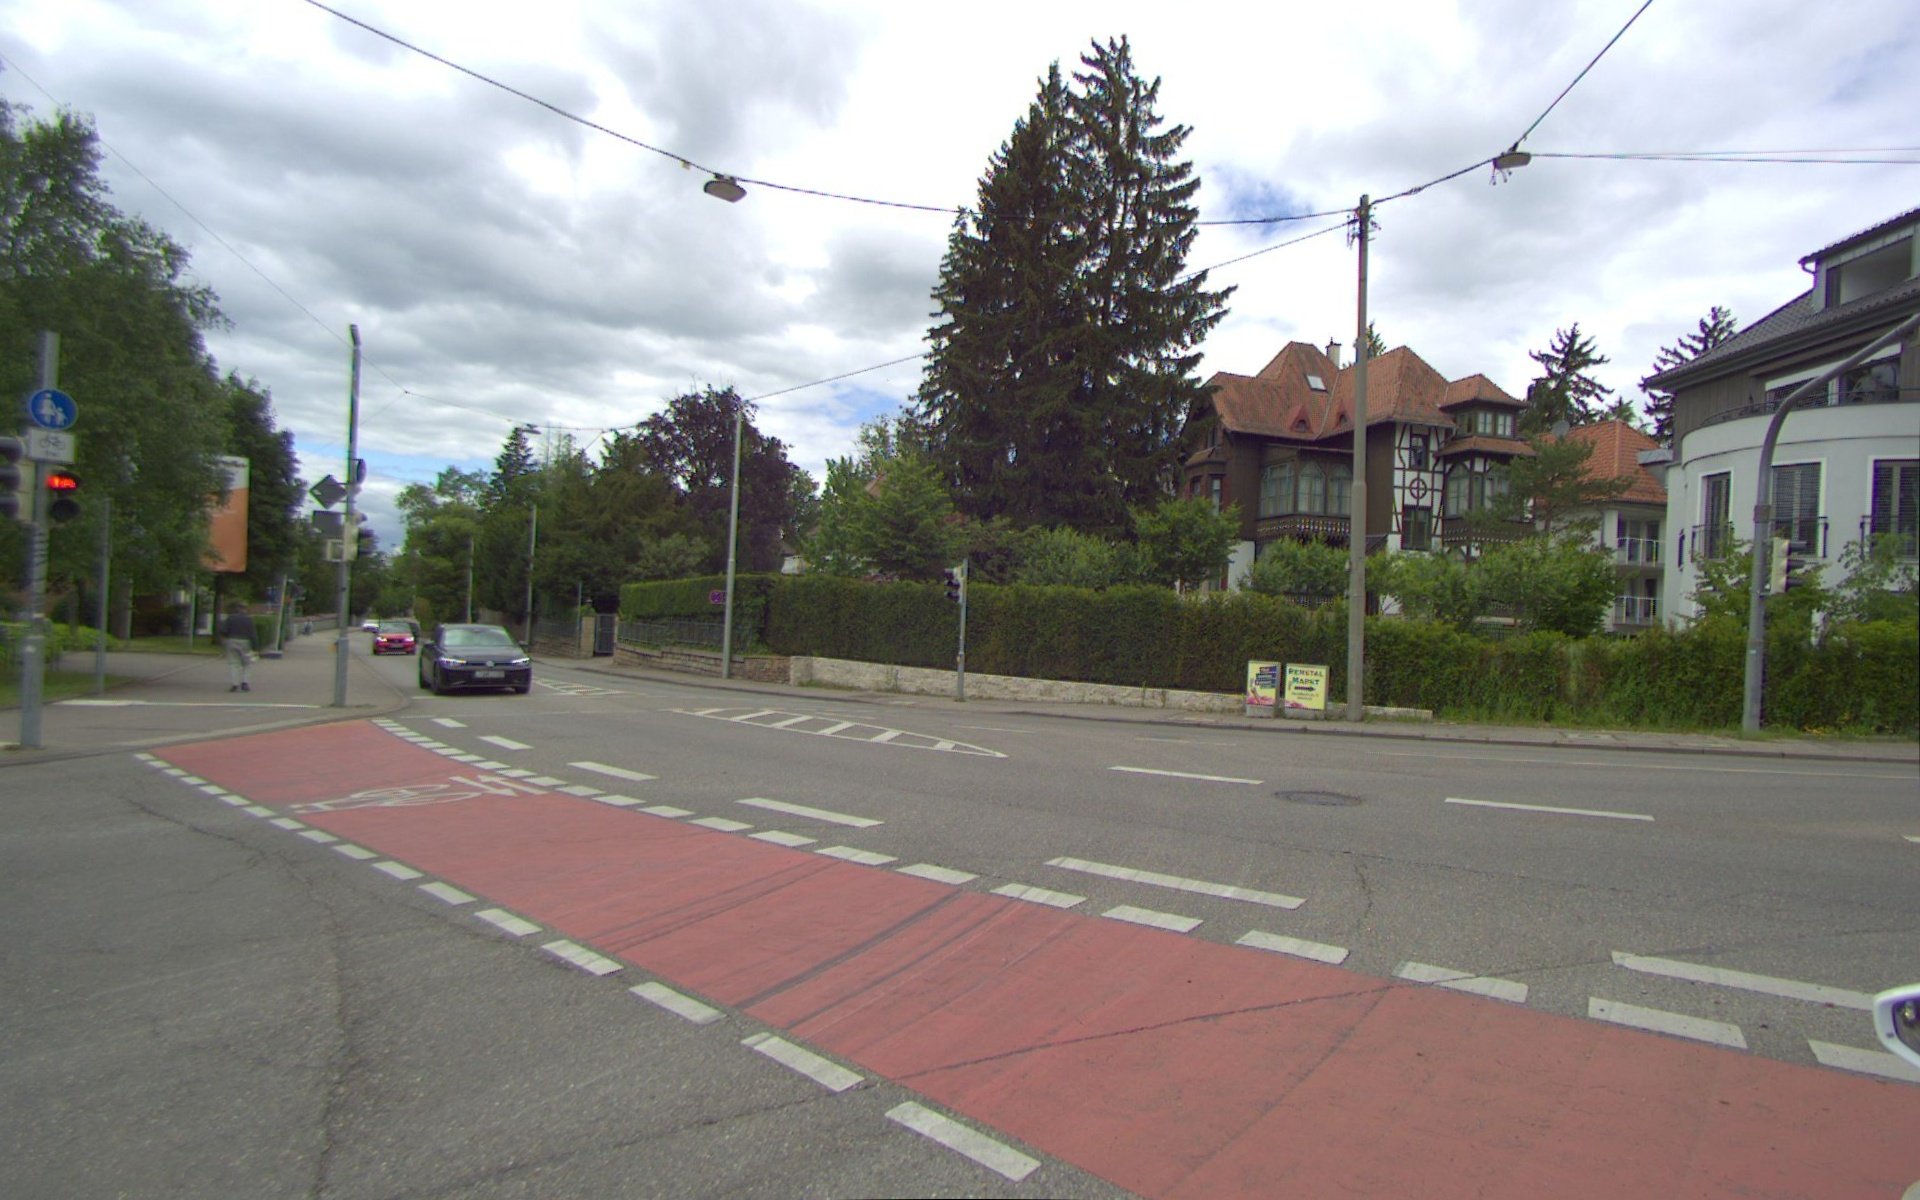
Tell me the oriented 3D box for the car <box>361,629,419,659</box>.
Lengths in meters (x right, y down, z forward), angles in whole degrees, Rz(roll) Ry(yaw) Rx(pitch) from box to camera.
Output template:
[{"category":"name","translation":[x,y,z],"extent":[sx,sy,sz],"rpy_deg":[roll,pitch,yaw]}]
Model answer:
[{"category":"car","translation":[-27.327,2.092,48.101],"extent":[1.981,1.216,3.959],"rpy_deg":[2,-1,-36]}]

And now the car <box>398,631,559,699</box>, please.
[{"category":"car","translation":[-10.427,1.350,21.647],"extent":[1.987,1.260,3.948],"rpy_deg":[3,-3,-43]}]
